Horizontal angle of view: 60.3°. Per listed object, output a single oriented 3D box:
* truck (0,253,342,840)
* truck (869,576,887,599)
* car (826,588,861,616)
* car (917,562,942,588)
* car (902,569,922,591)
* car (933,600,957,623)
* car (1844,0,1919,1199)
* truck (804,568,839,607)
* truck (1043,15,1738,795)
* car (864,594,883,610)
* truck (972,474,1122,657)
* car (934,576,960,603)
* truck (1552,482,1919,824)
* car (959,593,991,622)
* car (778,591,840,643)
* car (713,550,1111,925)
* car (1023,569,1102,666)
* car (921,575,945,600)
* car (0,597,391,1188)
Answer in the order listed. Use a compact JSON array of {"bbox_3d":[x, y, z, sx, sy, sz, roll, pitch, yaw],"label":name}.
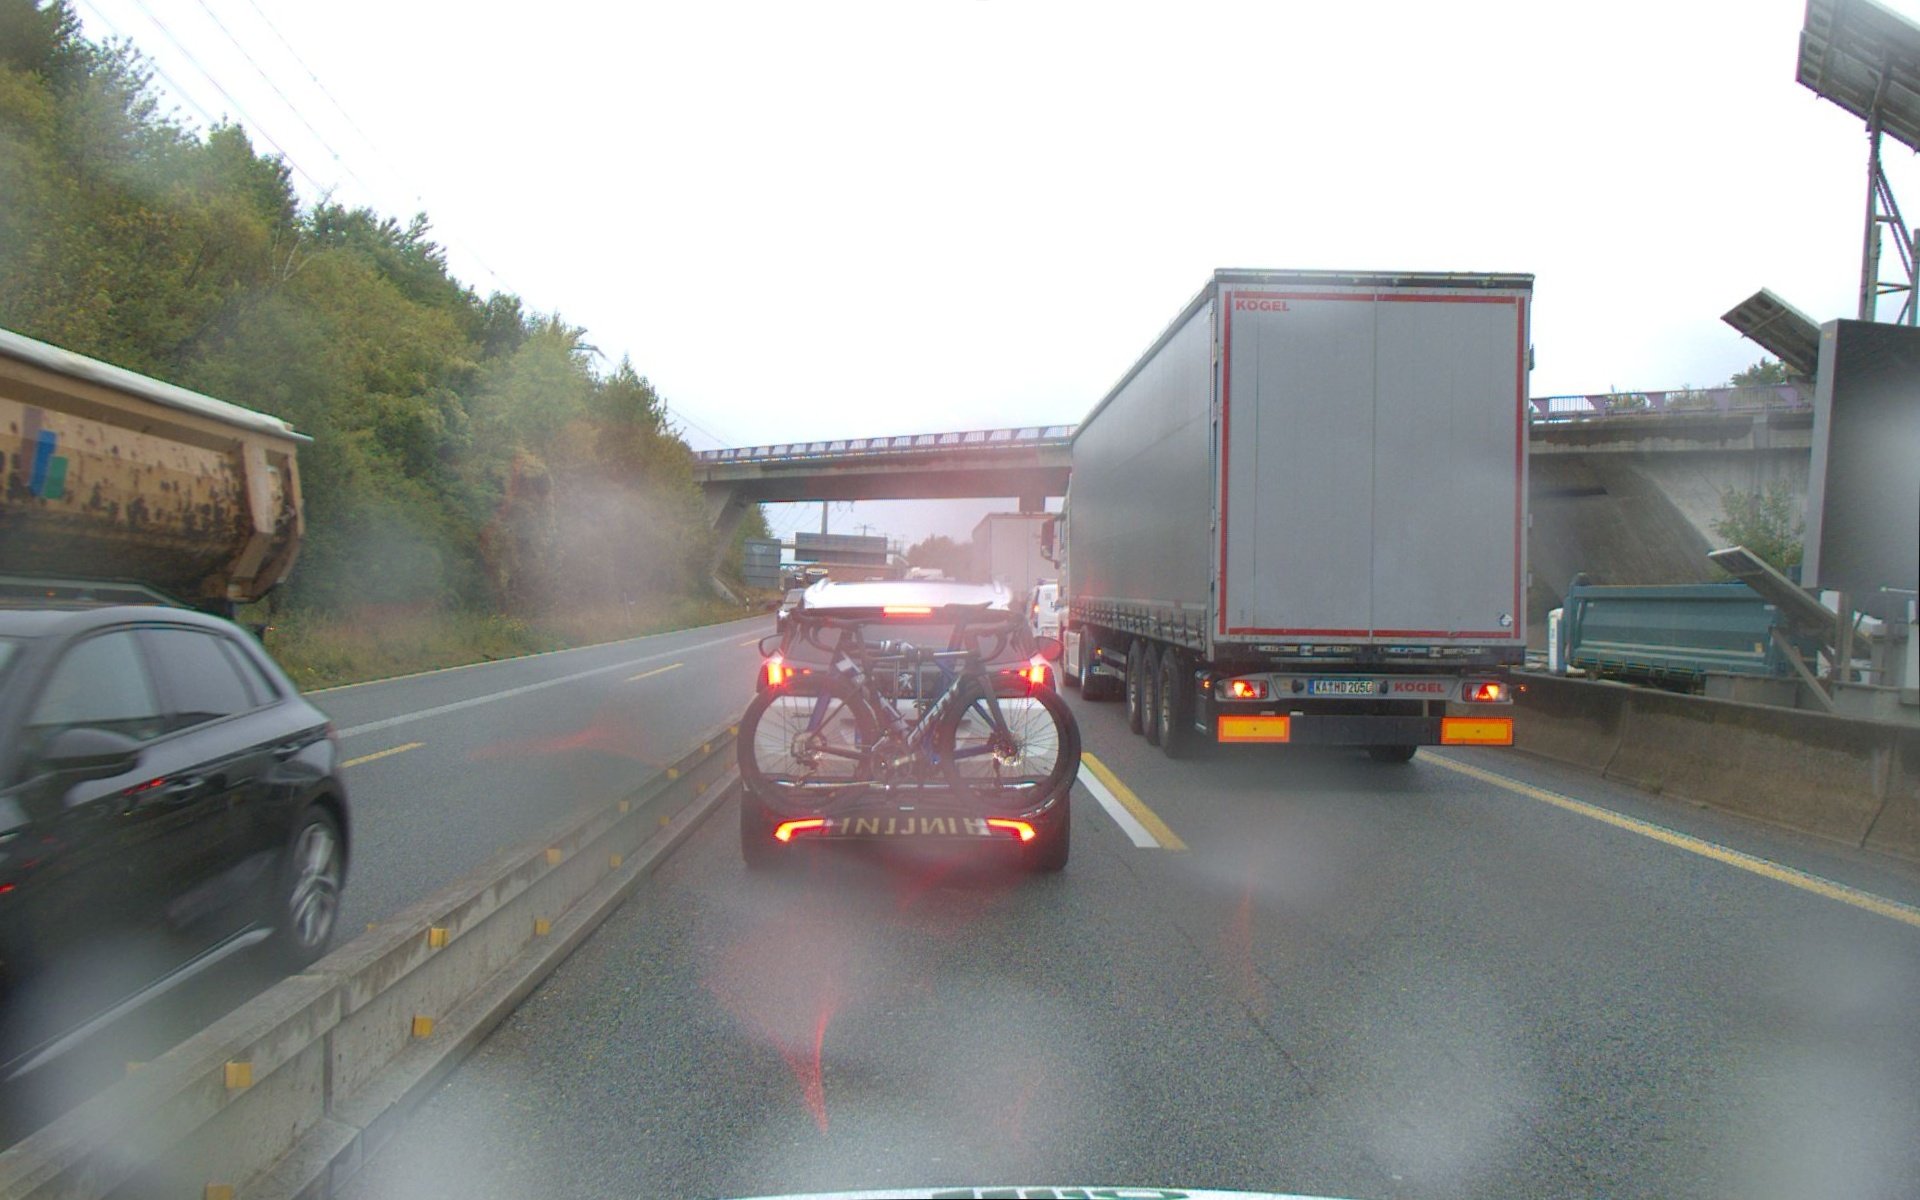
[{"bbox_3d":[-6.821,-0.322,9.243,2.484,3.411,12.045,1,0,-2],"label":"truck"},{"bbox_3d":[-12.476,-1.877,252.451,2.484,3.411,12.045,1,0,-2],"label":"truck"},{"bbox_3d":[-6.417,0.109,91.420,1.773,1.514,4.395,1,0,-2],"label":"car"},{"bbox_3d":[-2.767,-2.280,151.989,2.193,2.347,4.571,1,0,-1],"label":"car"},{"bbox_3d":[-4.929,-2.058,169.302,1.953,2.164,4.526,1,0,-1],"label":"car"},{"bbox_3d":[-1.065,0.798,115.045,1.605,1.524,3.665,1,0,-1],"label":"car"},{"bbox_3d":[2.983,0.114,0.576,2.100,2.723,6.117,1,0,0],"label":"car"},{"bbox_3d":[-13.990,-1.200,168.433,2.627,3.720,12.309,1,0,-1],"label":"truck"},{"bbox_3d":[3.738,-1.423,22.534,3.898,5.772,20.372,1,0,-1],"label":"truck"},{"bbox_3d":[-7.921,0.148,151.874,1.652,1.434,3.928,1,0,-3],"label":"car"},{"bbox_3d":[2.850,-1.075,62.776,4.645,5.772,20.375,1,0,0],"label":"truck"},{"bbox_3d":[-1.043,-0.800,127.514,1.953,2.049,3.999,1,0,-1],"label":"car"},{"bbox_3d":[10.095,0.517,19.977,2.469,3.186,9.116,1,0,-1],"label":"truck"},{"bbox_3d":[0.783,0.399,88.569,1.605,1.524,3.665,1,0,-1],"label":"car"},{"bbox_3d":[-4.879,0.543,53.876,1.773,1.586,3.988,1,0,-2],"label":"car"},{"bbox_3d":[-0.203,0.628,9.770,1.773,1.666,4.635,1,0,0],"label":"car"},{"bbox_3d":[2.443,0.408,40.177,1.635,2.218,4.534,1,0,0],"label":"car"},{"bbox_3d":[-2.268,-1.071,139.322,1.953,2.049,3.999,1,0,-1],"label":"car"},{"bbox_3d":[-3.205,0.709,5.126,1.652,1.434,3.928,1,0,-3],"label":"car"}]
